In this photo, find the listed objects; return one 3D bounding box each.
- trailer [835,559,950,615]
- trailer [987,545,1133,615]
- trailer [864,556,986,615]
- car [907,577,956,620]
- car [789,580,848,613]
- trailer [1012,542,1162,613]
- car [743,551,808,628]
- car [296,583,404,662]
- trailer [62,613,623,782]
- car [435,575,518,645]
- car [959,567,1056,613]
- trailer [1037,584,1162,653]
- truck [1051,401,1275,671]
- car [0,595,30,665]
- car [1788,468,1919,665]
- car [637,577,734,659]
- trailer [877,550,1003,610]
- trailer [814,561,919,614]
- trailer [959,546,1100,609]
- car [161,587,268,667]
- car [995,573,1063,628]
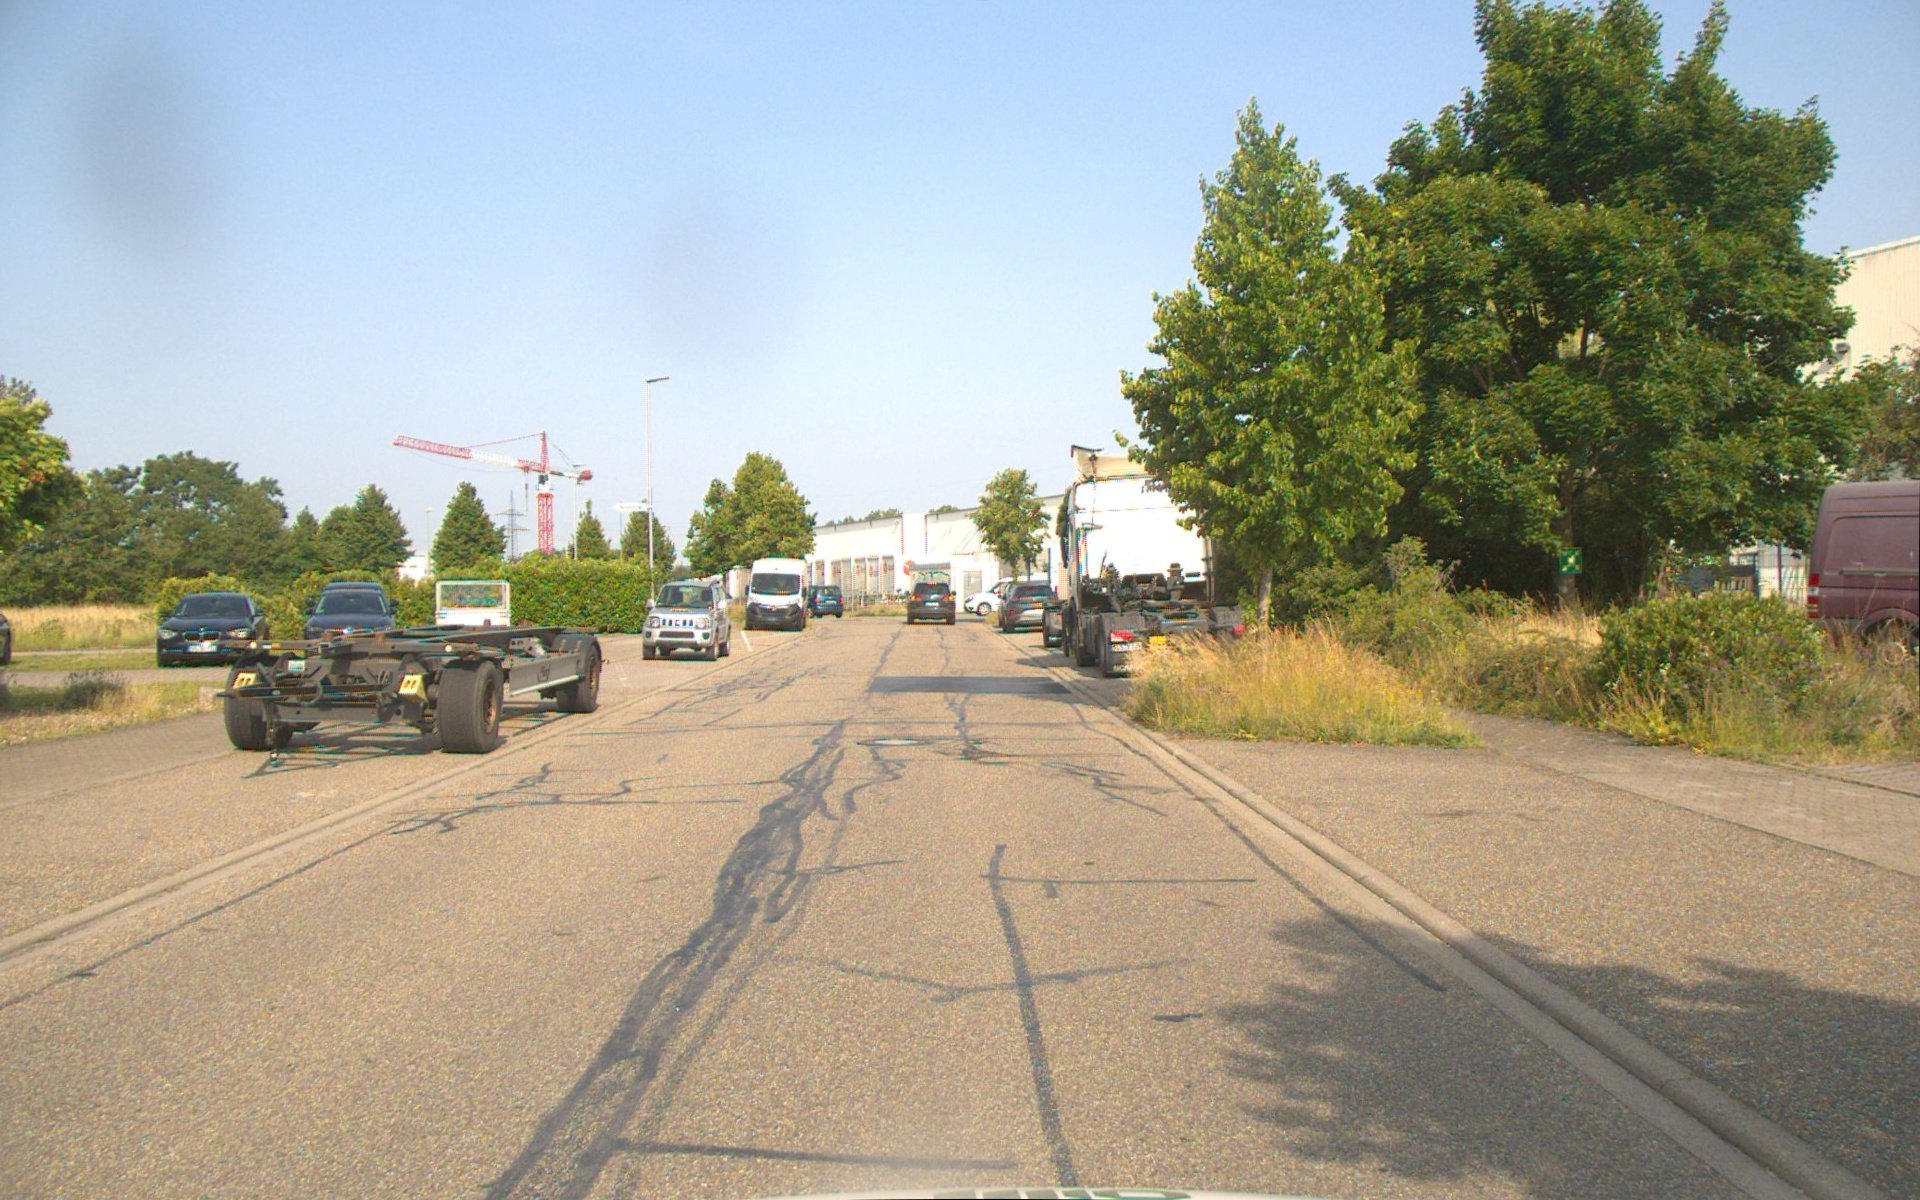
[{"bbox_3d":[-5.054,-0.935,124.336,8.202,3.962,2.754,1,0,-25],"label":"trailer"},{"bbox_3d":[6.083,-1.229,100.319,8.423,3.961,2.755,-2,0,-24],"label":"trailer"},{"bbox_3d":[-2.494,-1.017,118.889,8.427,3.962,2.754,1,0,-25],"label":"trailer"},{"bbox_3d":[-1.144,-0.058,66.131,1.842,1.614,4.112,1,0,-1],"label":"car"},{"bbox_3d":[-7.235,-0.173,84.253,1.940,1.601,4.088,-1,0,-21],"label":"car"},{"bbox_3d":[7.480,-1.322,97.115,8.419,3.962,2.756,-1,-2,-23],"label":"trailer"},{"bbox_3d":[-6.723,-0.372,60.991,2.061,2.640,6.498,1,0,-4],"label":"car"},{"bbox_3d":[-12.562,0.423,34.269,1.945,1.502,4.398,-1,0,-19],"label":"car"},{"bbox_3d":[-5.714,0.786,17.539,2.494,1.093,9.729,0,1,-1],"label":"trailer"},{"bbox_3d":[-11.655,0.230,39.735,1.805,1.599,3.797,1,0,-18],"label":"car"},{"bbox_3d":[2.302,-0.473,80.718,4.518,2.147,2.127,-1,0,-3],"label":"car"},{"bbox_3d":[2.926,0.334,36.235,1.899,1.257,7.449,-3,1,-1],"label":"trailer"},{"bbox_3d":[3.323,-1.017,28.662,2.638,4.033,6.044,-3,0,-3],"label":"truck"},{"bbox_3d":[-19.590,0.581,32.148,1.960,1.348,4.324,-1,0,-21],"label":"car"},{"bbox_3d":[14.317,-0.402,21.394,2.553,2.569,5.955,1,0,-42],"label":"car"},{"bbox_3d":[-5.984,0.356,36.392,1.565,1.679,3.643,-1,1,-1],"label":"car"},{"bbox_3d":[-1.378,-1.345,115.864,8.427,3.962,2.754,1,0,-25],"label":"trailer"},{"bbox_3d":[-7.376,-0.984,130.858,7.861,3.962,2.754,1,0,-25],"label":"trailer"},{"bbox_3d":[4.398,-1.379,103.985,8.620,3.827,2.769,0,-1,-25],"label":"trailer"},{"bbox_3d":[-14.992,0.497,33.431,1.655,1.502,4.324,-1,0,-20],"label":"car"},{"bbox_3d":[2.140,0.020,52.521,1.843,1.601,4.112,-2,0,-1],"label":"car"}]
